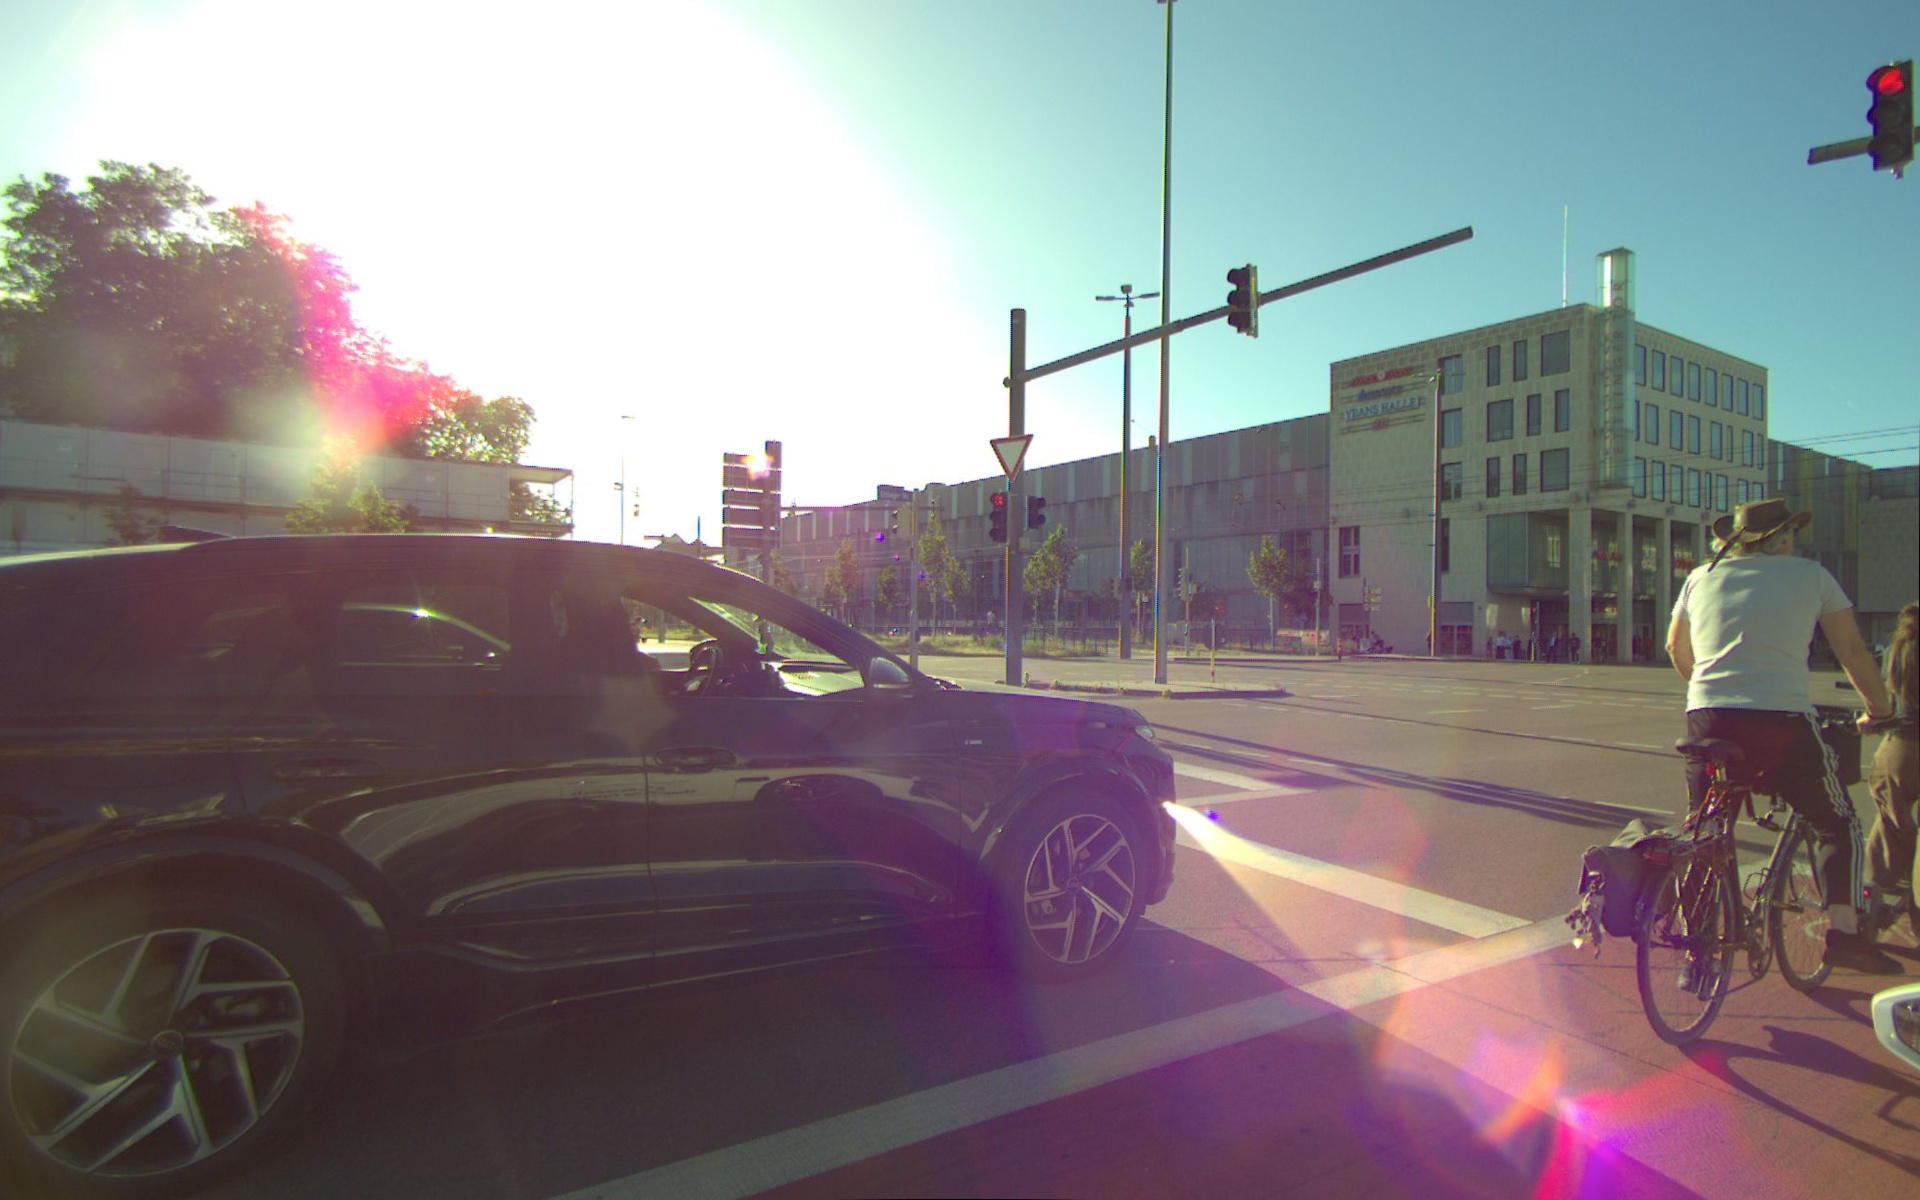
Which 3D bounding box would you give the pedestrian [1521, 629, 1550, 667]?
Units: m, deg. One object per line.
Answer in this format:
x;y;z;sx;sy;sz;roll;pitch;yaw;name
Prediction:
26.172;2.191;45.691;0.994;1.697;0.818;1;-1;-33;pedestrian

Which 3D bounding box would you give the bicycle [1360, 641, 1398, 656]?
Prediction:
26.757;3.080;64.125;0.633;0.915;2.190;2;-2;-43;bicycle

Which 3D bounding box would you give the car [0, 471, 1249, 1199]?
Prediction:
-1.266;0.608;4.055;4.613;1.729;2.154;1;0;-32;car

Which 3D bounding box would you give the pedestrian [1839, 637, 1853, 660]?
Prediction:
70.277;3.829;79.660;0.681;1.752;0.472;2;0;9;pedestrian

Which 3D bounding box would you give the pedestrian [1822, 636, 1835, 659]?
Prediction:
69.105;3.795;79.926;0.615;1.752;0.472;2;0;4;pedestrian

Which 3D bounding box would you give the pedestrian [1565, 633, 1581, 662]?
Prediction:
35.666;2.737;58.426;0.622;1.667;0.589;1;-1;-30;pedestrian

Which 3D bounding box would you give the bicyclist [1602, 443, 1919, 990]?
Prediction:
3.033;0.379;3.736;0.842;1.723;0.802;1;-1;-30;bicyclist

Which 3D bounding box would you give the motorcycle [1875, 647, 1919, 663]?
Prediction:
70.364;4.100;75.182;1.106;1.006;2.582;2;0;-38;motorcycle

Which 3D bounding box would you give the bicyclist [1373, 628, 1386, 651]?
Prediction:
26.777;2.504;64.122;0.623;1.467;0.581;1;-1;-42;bicyclist

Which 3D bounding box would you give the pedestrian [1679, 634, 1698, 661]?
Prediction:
46.736;3.037;64.437;0.616;1.660;0.776;1;-1;-20;pedestrian

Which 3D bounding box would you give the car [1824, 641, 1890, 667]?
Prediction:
49.561;2.950;55.501;3.975;1.375;1.668;1;-1;-31;car

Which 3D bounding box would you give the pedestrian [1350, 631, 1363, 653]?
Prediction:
27.571;2.918;69.800;0.622;1.562;0.589;1;-1;-30;pedestrian

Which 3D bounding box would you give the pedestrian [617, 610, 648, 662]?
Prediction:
-10.467;1.136;32.131;0.736;1.632;0.716;2;0;-5;pedestrian

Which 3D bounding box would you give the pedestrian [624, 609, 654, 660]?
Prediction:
-10.544;1.138;33.004;0.736;1.632;0.716;2;0;-5;pedestrian

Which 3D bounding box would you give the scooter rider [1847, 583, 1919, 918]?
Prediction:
4.641;0.702;4.787;0.445;1.550;0.548;1;-1;-38;scooter rider

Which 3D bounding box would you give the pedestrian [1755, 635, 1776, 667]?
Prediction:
43.497;2.757;54.226;0.612;1.710;0.697;1;-1;-29;pedestrian

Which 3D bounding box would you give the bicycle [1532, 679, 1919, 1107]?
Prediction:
3.007;0.909;3.709;1.868;1.162;0.735;1;-1;-30;bicycle

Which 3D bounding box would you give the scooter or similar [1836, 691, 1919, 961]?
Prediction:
4.386;1.011;4.720;0.832;1.122;0.303;2;-1;-42;scooter or similar

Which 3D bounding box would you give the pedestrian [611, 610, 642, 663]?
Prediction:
-10.405;1.134;31.366;0.736;1.632;0.716;2;0;-5;pedestrian

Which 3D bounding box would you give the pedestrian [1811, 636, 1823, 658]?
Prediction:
69.684;3.821;81.678;0.510;1.752;0.472;2;0;9;pedestrian

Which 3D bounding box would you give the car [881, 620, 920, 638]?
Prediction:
-6.053;2.950;102.464;1.806;1.706;4.816;1;-2;-33;car
